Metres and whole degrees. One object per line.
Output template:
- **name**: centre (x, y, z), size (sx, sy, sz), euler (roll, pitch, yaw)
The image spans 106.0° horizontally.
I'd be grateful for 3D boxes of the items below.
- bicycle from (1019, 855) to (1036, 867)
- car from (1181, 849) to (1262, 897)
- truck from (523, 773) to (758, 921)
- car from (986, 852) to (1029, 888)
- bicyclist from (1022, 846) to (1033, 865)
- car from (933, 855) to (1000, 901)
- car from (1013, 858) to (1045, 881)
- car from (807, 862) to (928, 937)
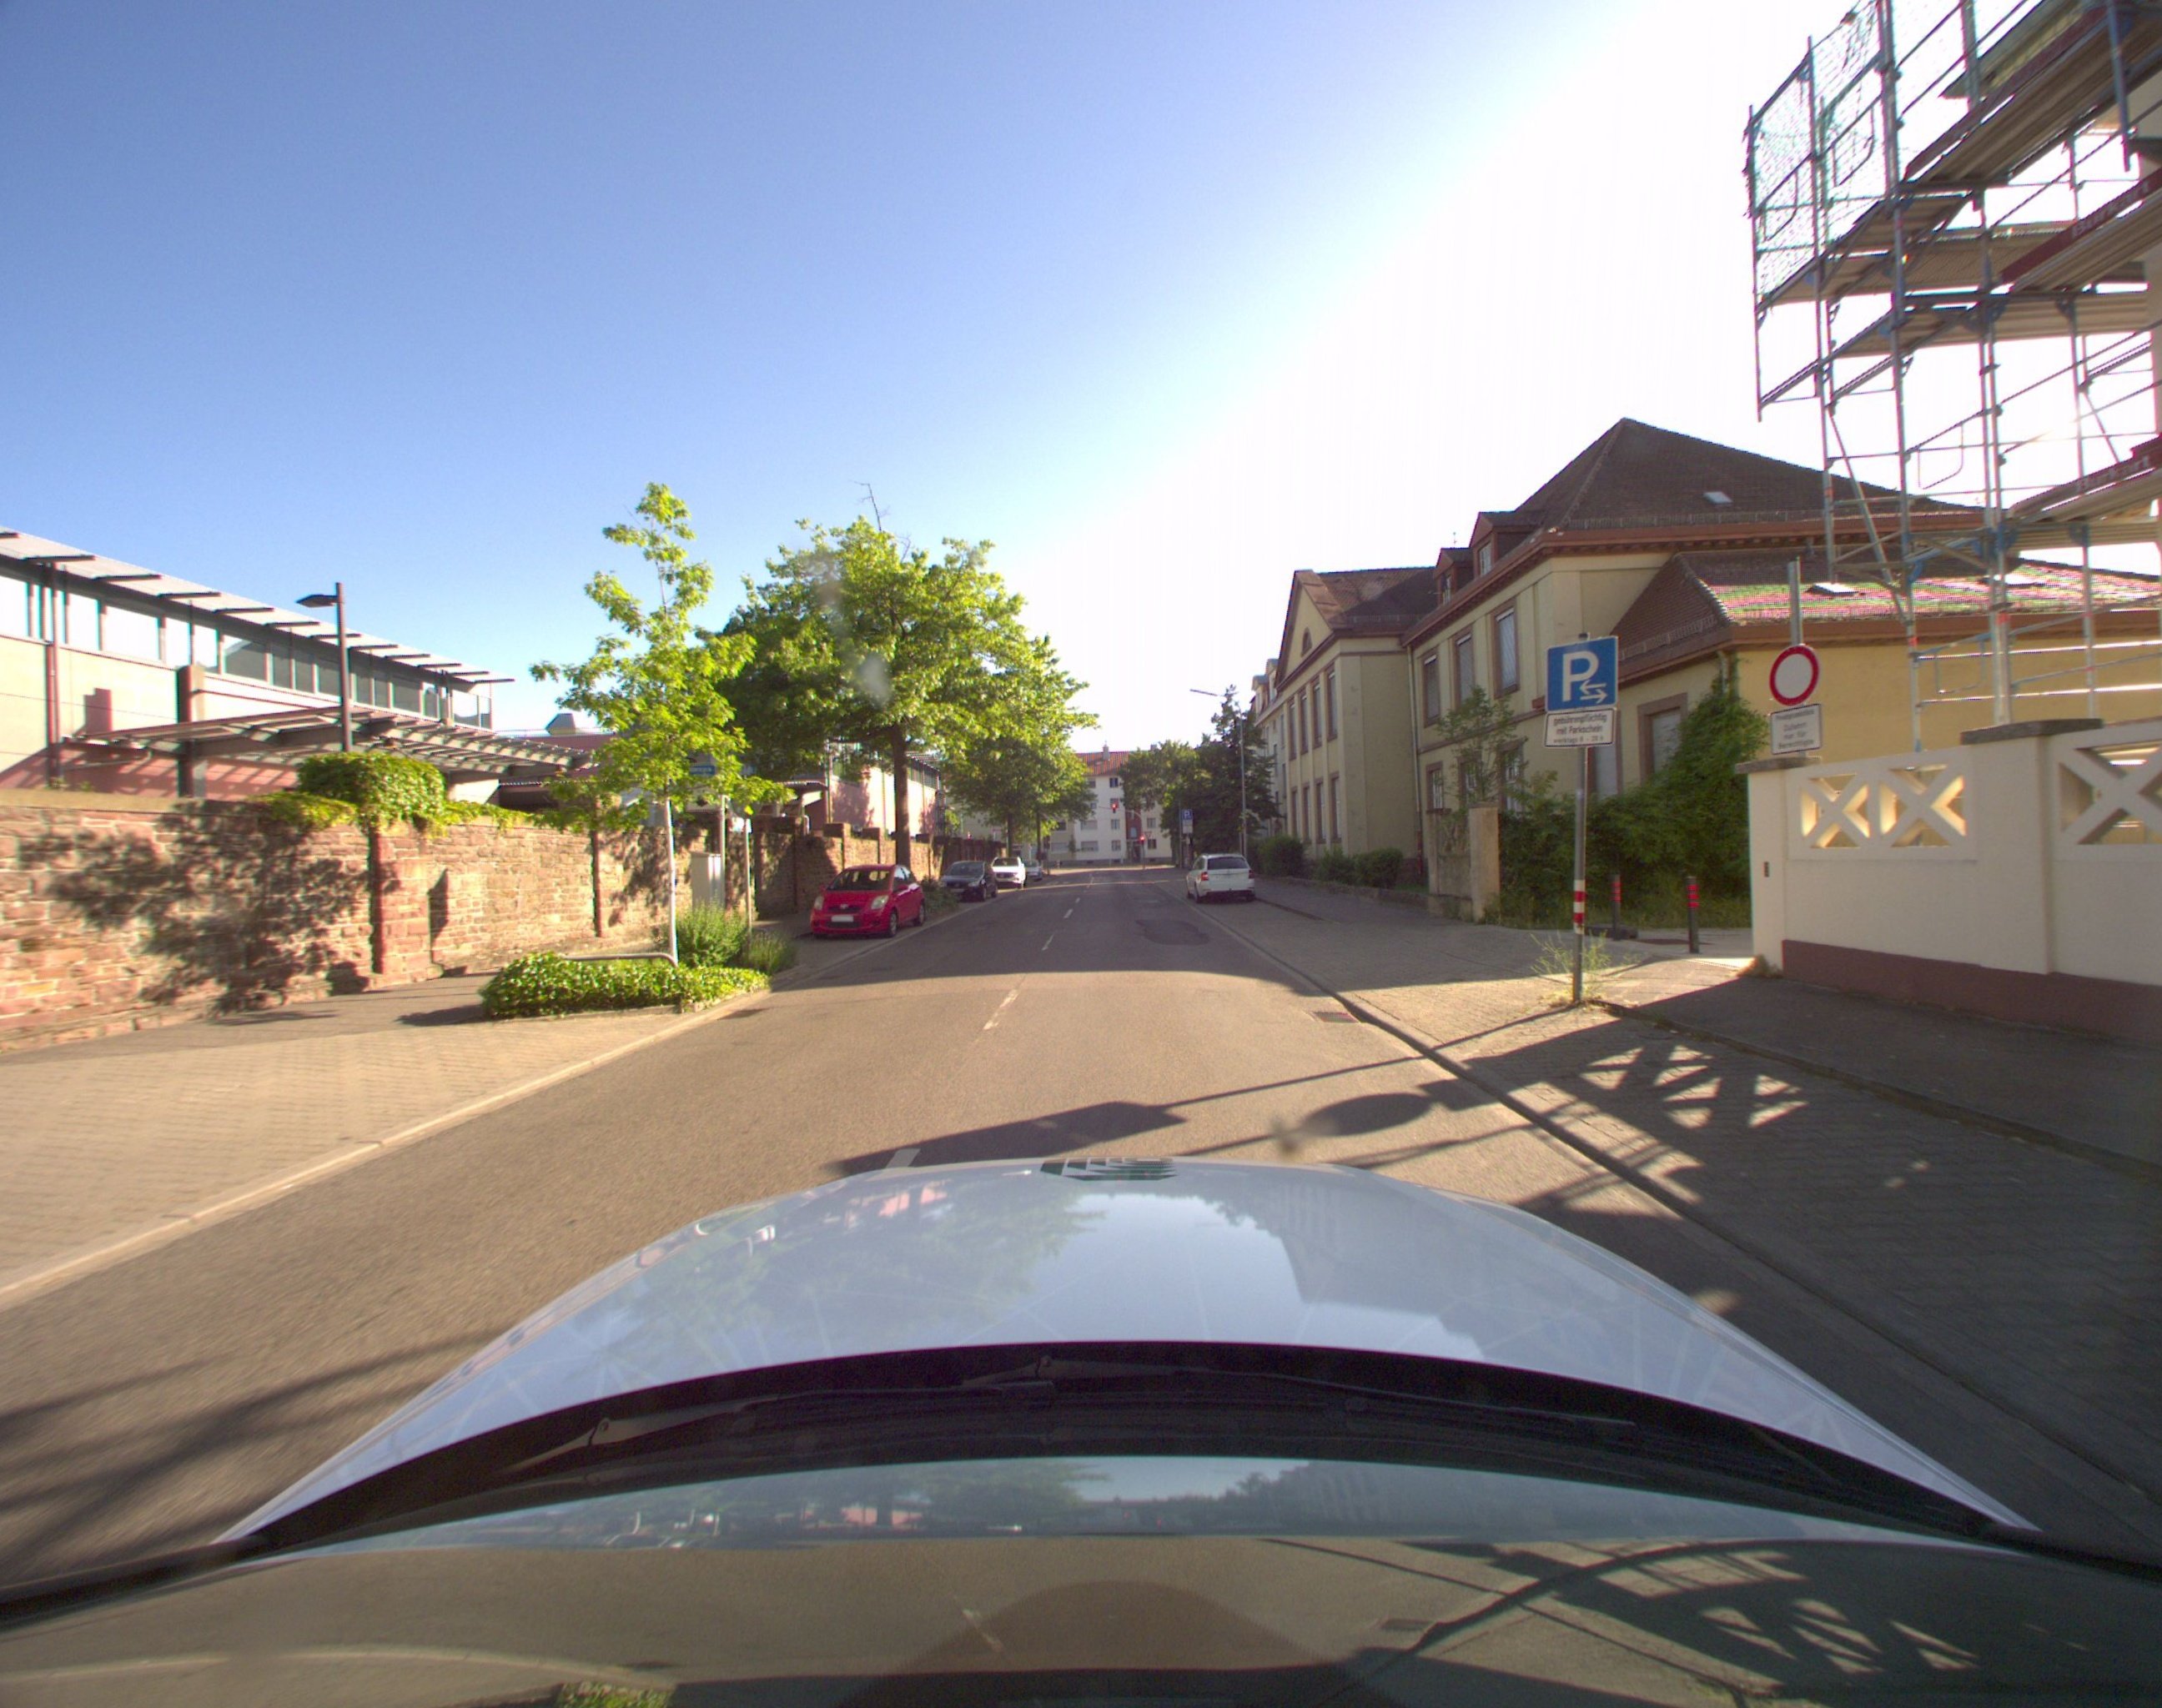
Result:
- **bicycle**: centre (-4.896, 0.630, 75.074), size (1.698, 1.080, 0.347), euler (-1, 0, -40)
- **car**: centre (4.283, 0.552, 25.557), size (1.826, 1.323, 4.497), euler (-2, 0, 1)
- **truck**: centre (-12.562, -0.163, 24.197), size (2.722, 3.711, 7.430), euler (0, 0, 2)
- **car**: centre (-3.741, 0.788, 42.079), size (1.714, 1.683, 4.351), euler (-1, 0, 0)
- **bicyclist**: centre (-4.914, 0.161, 75.082), size (0.793, 1.757, 0.605), euler (-1, -1, -40)
- **car**: centre (-4.305, 0.869, 31.202), size (1.730, 1.592, 4.110), euler (-1, 0, 3)
- **car**: centre (-3.418, 0.995, 53.985), size (1.720, 1.475, 4.479), euler (0, 0, 2)
- **car**: centre (-4.637, 0.937, 18.216), size (1.602, 1.459, 3.710), euler (0, 0, 2)
